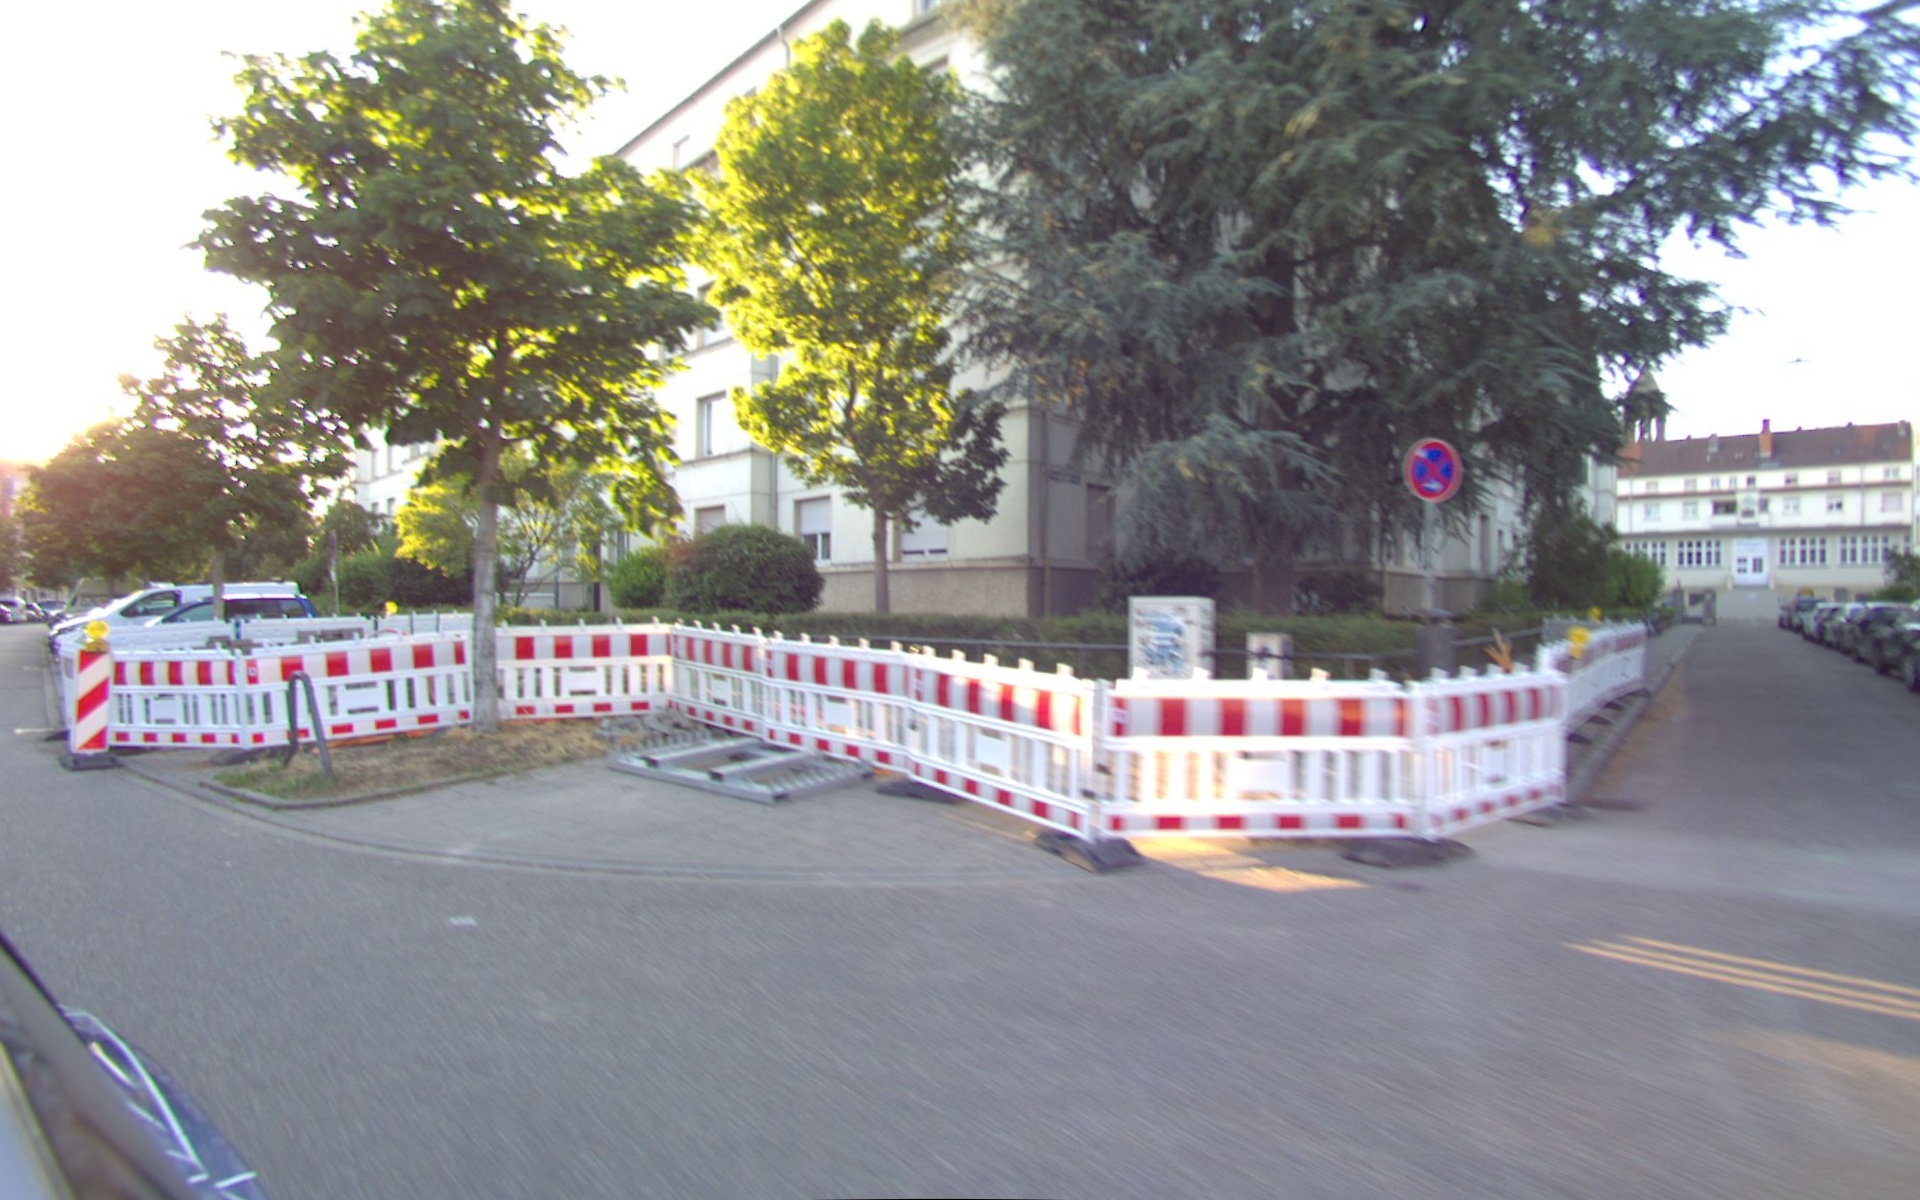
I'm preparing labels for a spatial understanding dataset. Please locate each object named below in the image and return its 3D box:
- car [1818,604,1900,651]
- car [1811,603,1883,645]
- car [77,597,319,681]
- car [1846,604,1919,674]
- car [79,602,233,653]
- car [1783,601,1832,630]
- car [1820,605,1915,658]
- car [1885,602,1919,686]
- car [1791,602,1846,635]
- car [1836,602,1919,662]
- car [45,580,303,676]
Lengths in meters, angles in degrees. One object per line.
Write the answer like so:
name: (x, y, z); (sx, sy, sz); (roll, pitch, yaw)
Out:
car: (30.299, 0.883, 34.213); (1.785, 1.439, 3.703); (2, 1, 38)
car: (33.198, 0.859, 37.953); (1.785, 1.439, 3.703); (2, 1, 38)
car: (-16.858, 0.797, 22.513); (2.001, 1.696, 4.074); (-1, -1, 45)
car: (21.327, 0.845, 22.804); (1.785, 1.439, 3.703); (2, 1, 38)
car: (-28.299, 0.933, 35.689); (2.001, 1.696, 4.074); (-1, -1, 45)
car: (44.769, 0.787, 53.512); (1.785, 1.439, 3.703); (2, 1, 38)
car: (26.871, 0.884, 30.069); (1.785, 1.439, 3.703); (2, 1, 38)
car: (18.080, 0.778, 18.211); (1.785, 1.439, 3.580); (2, 1, 38)
car: (40.451, 0.864, 47.731); (1.785, 1.439, 3.703); (2, 1, 38)
car: (24.347, 0.801, 26.591); (1.785, 1.439, 3.703); (2, 1, 38)
car: (-18.855, 0.626, 24.446); (2.001, 2.085, 4.720); (-1, -1, 45)
